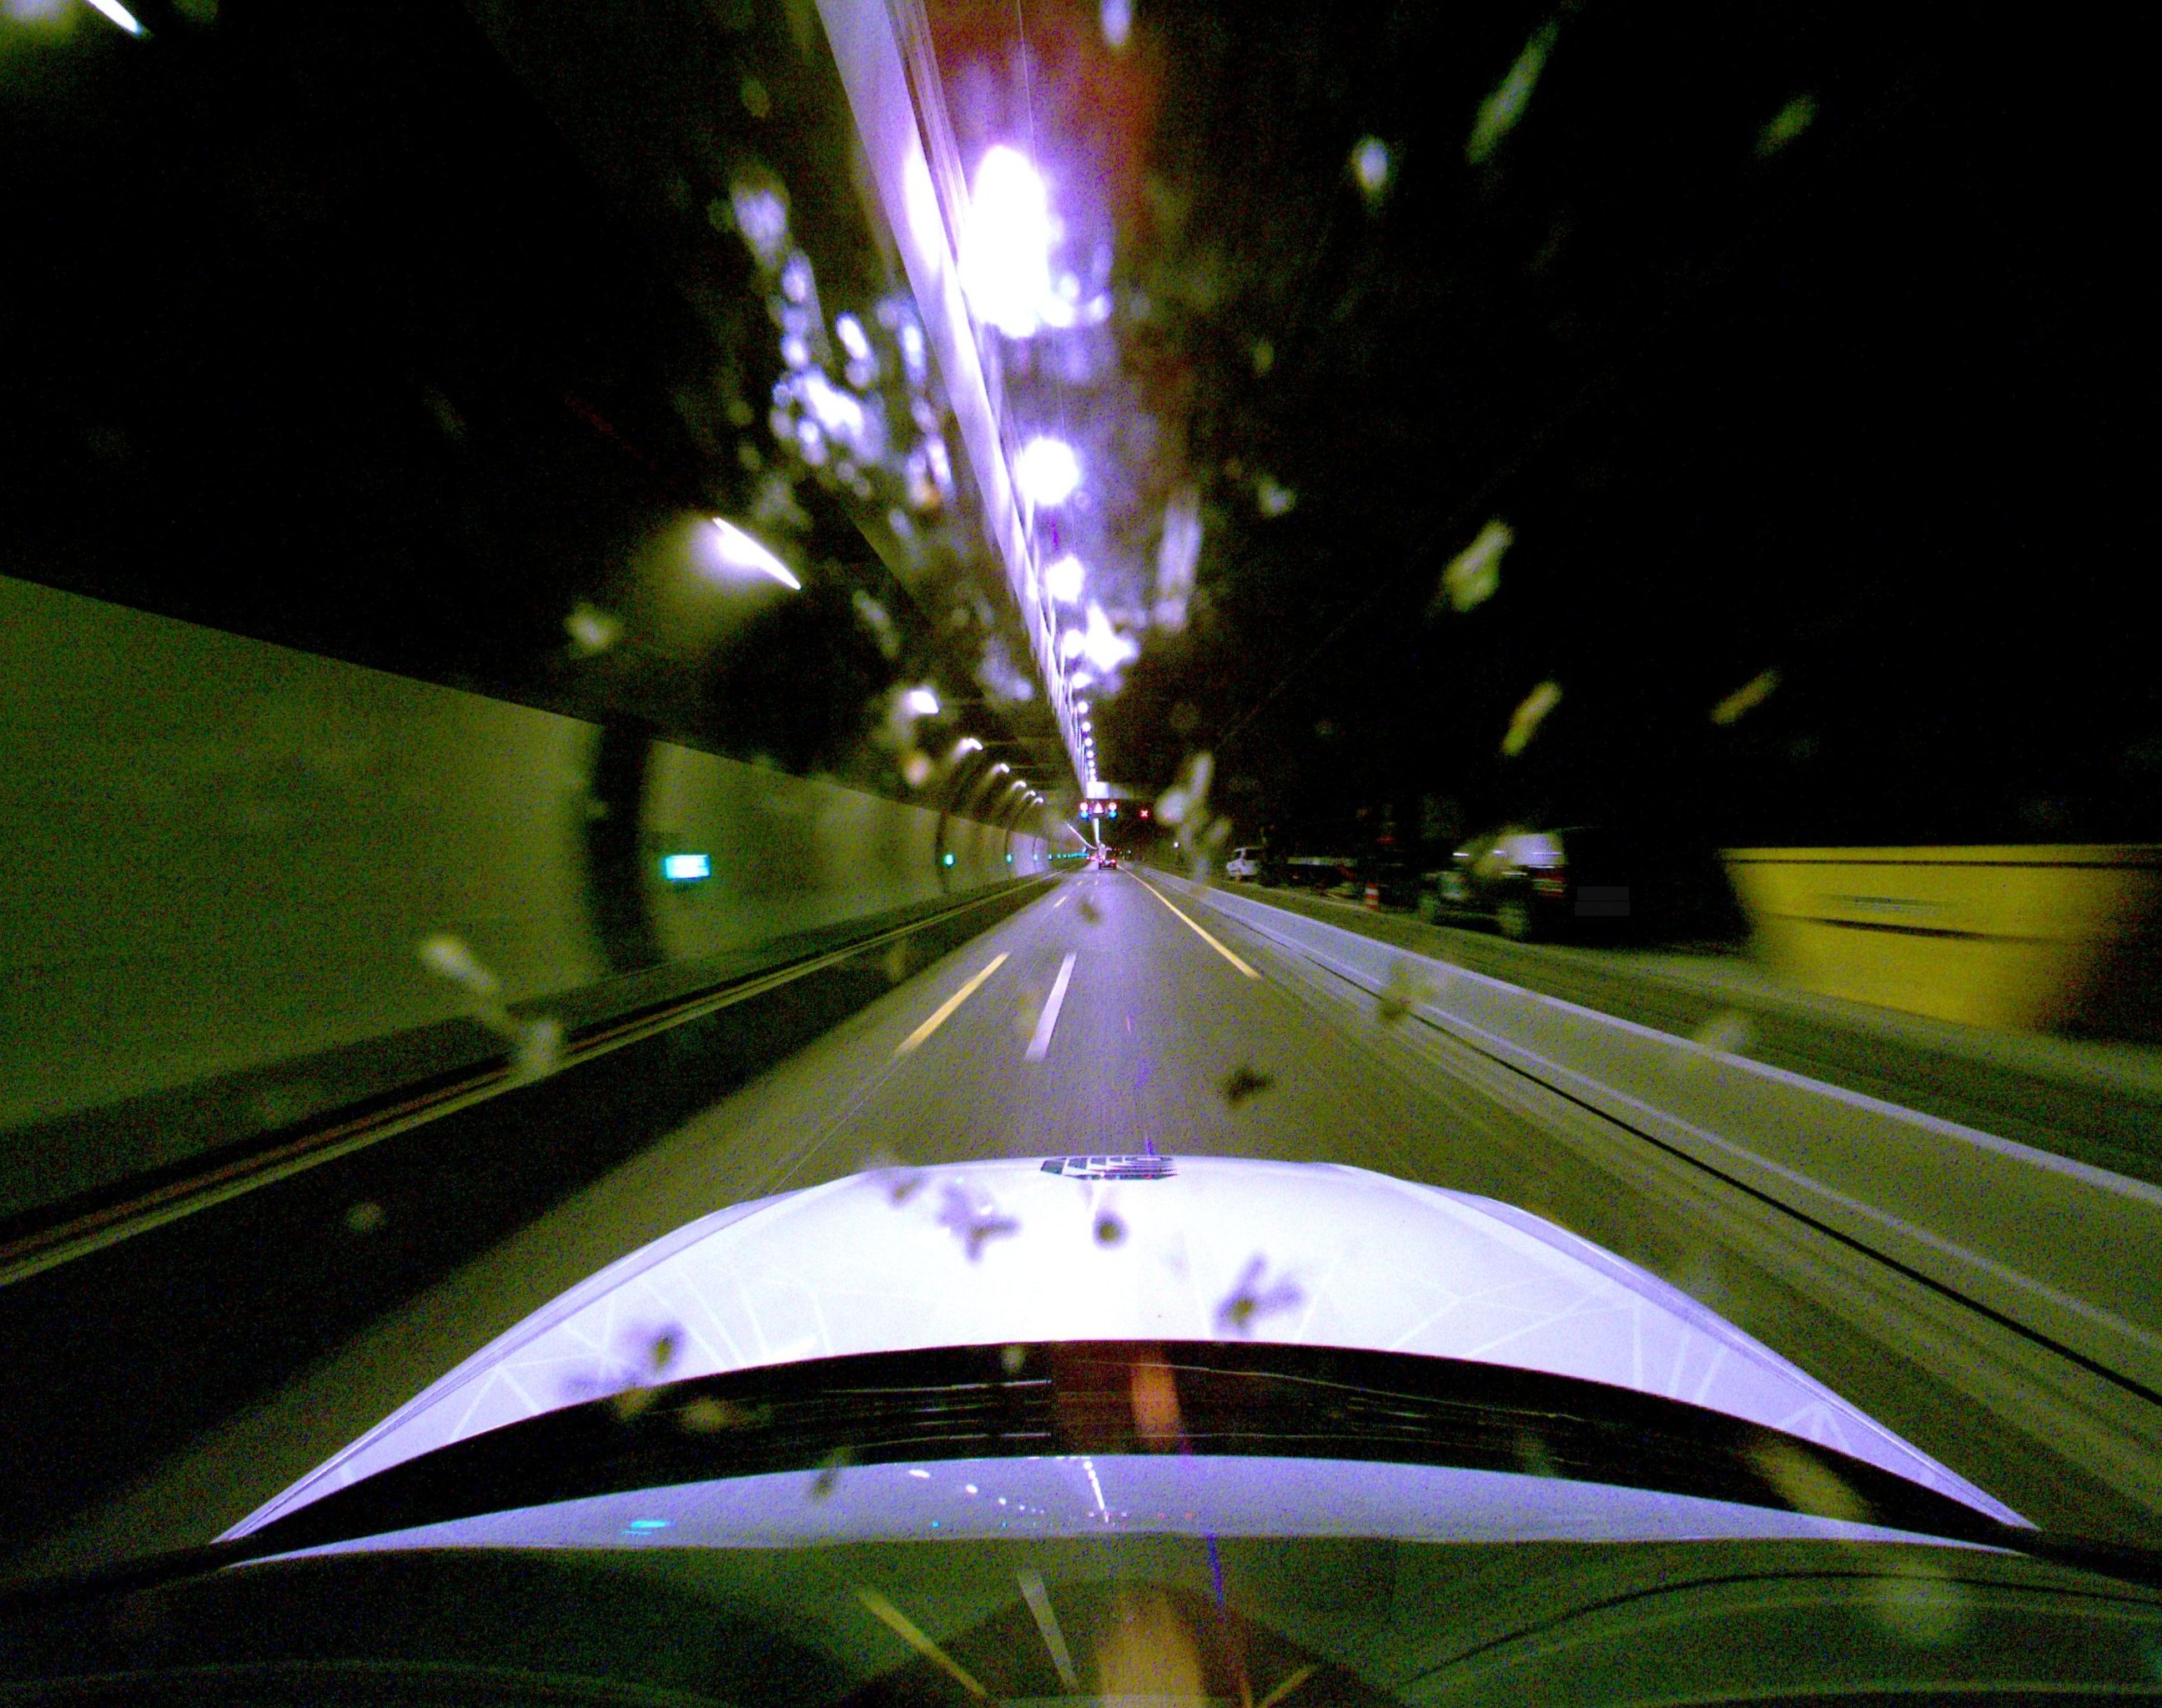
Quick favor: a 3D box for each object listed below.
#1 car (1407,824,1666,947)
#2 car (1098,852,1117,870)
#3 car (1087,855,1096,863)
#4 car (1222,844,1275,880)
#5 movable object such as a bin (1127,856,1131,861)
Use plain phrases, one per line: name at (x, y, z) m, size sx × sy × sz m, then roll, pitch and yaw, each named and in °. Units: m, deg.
car at (8.005, 0.470, 15.084) m, size 1.821 × 1.858 × 5.442 m, roll 0°, pitch 0°, yaw 0°
car at (2.761, 0.696, 86.185) m, size 1.940 × 1.794 × 4.001 m, roll -1°, pitch 0°, yaw 1°
car at (2.426, 1.159, 189.594) m, size 1.923 × 1.687 × 4.002 m, roll -1°, pitch 0°, yaw 2°
car at (9.183, 0.441, 45.085) m, size 1.747 × 1.845 × 4.641 m, roll -2°, pitch 0°, yaw -3°
movable object such as a bin at (14.542, 1.313, 247.467) m, size 1.230 × 1.442 × 2.217 m, roll 1°, pitch 0°, yaw 1°
